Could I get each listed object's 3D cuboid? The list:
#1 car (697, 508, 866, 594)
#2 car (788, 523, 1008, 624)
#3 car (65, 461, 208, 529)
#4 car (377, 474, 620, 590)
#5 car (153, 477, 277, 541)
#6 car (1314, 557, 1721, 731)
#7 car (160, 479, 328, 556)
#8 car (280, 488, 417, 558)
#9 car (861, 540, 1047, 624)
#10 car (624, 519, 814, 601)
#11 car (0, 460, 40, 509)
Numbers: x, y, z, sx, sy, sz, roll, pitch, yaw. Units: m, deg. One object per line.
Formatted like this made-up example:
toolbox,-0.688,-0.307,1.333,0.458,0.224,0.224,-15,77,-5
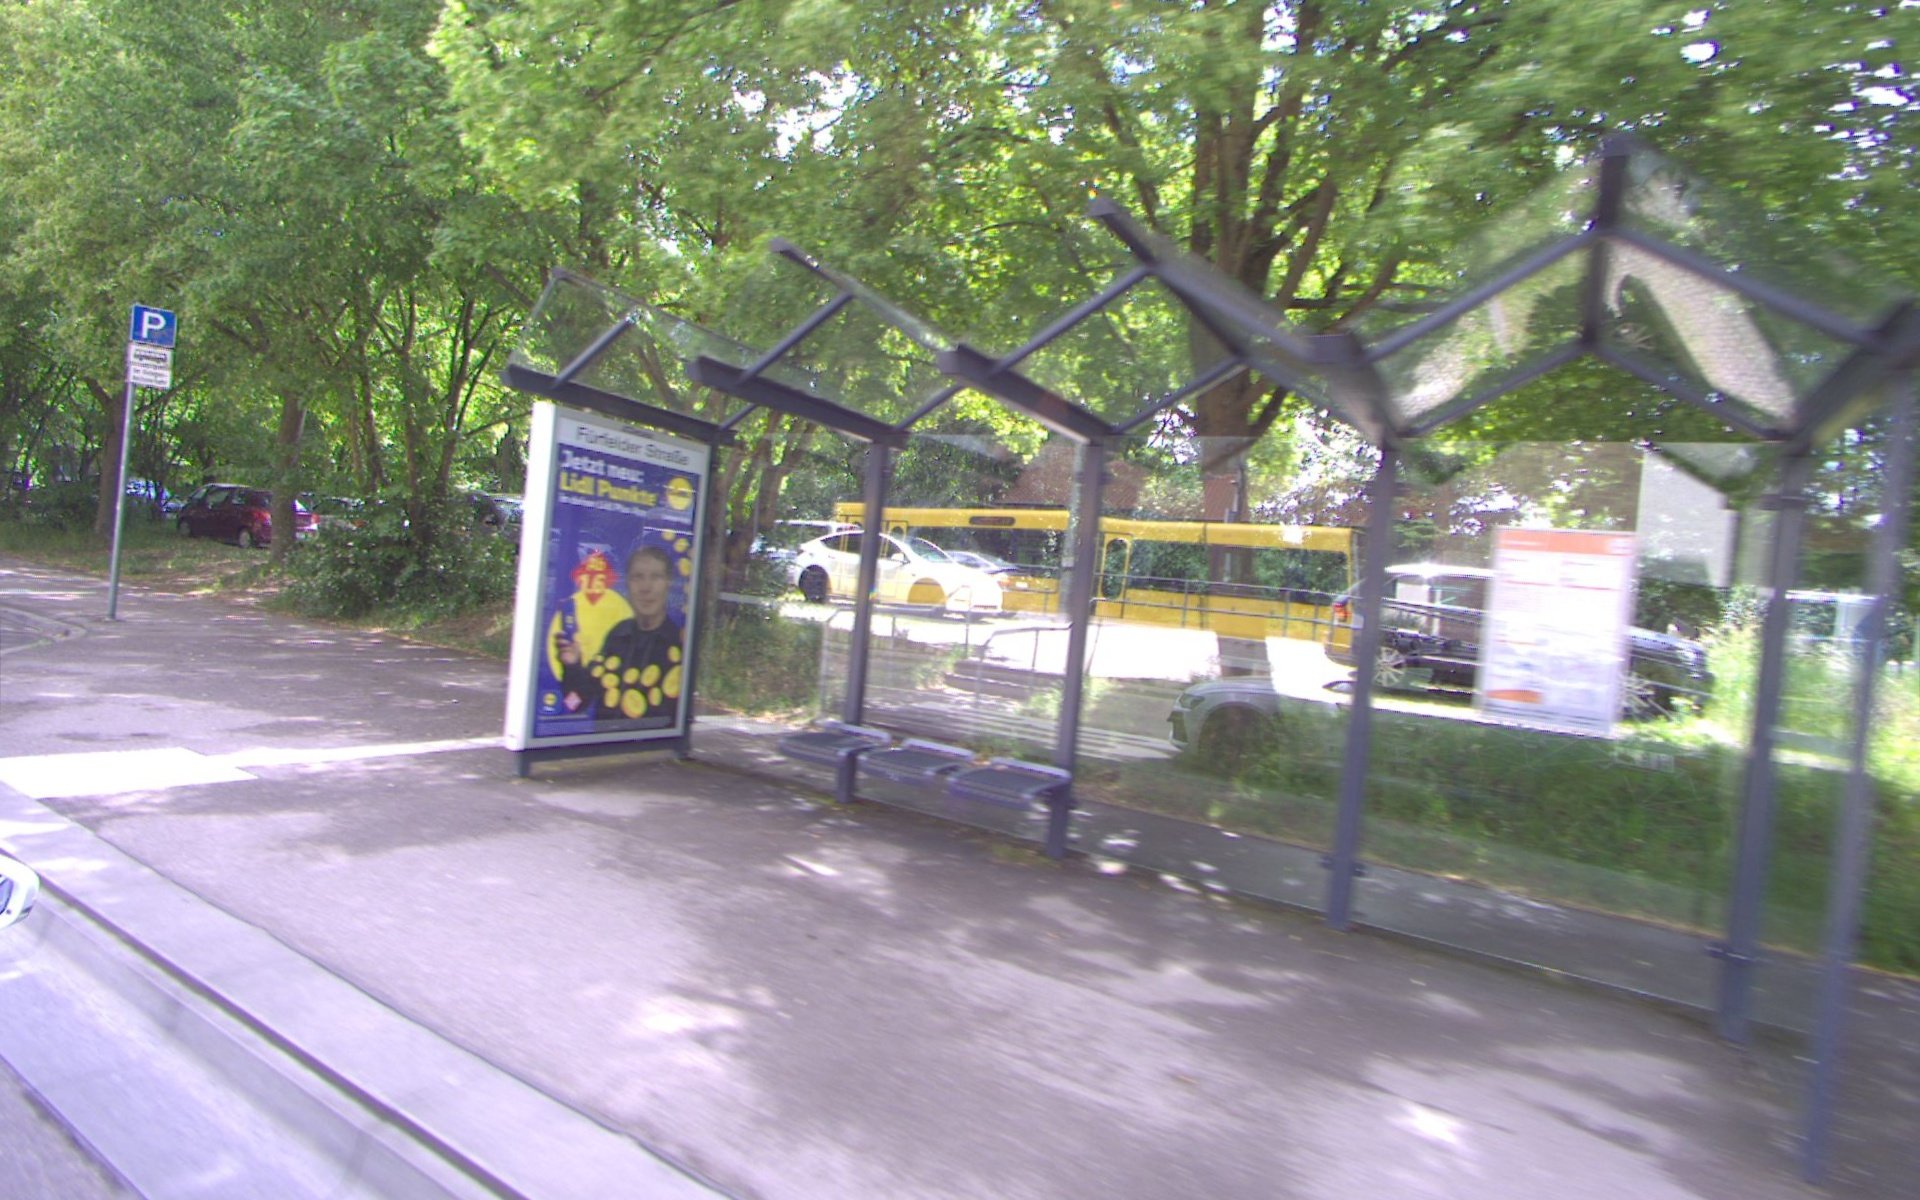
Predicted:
car,-4.589,-1.265,25.664,4.138,1.815,1.612,7,4,32
car,-1.334,-0.566,20.412,4.360,1.577,1.468,8,5,34
car,-22.680,-2.901,27.673,3.923,1.483,1.798,7,2,31
car,-8.849,-1.324,19.163,4.646,1.682,1.849,7,0,32
car,-22.862,-2.800,30.849,3.923,1.587,1.635,7,2,31
car,6.951,0.446,12.927,4.191,1.717,1.687,5,3,31
car,-17.419,-2.007,24.471,3.750,1.432,1.611,7,2,24
car,-16.207,-2.043,26.623,3.562,1.529,1.691,7,3,33
car,-0.173,-0.434,23.208,3.936,1.472,1.682,7,1,34
car,-5.560,-0.924,23.028,4.280,1.462,1.613,7,3,32
car,-33.563,-4.072,34.680,4.092,1.528,1.714,7,3,33
